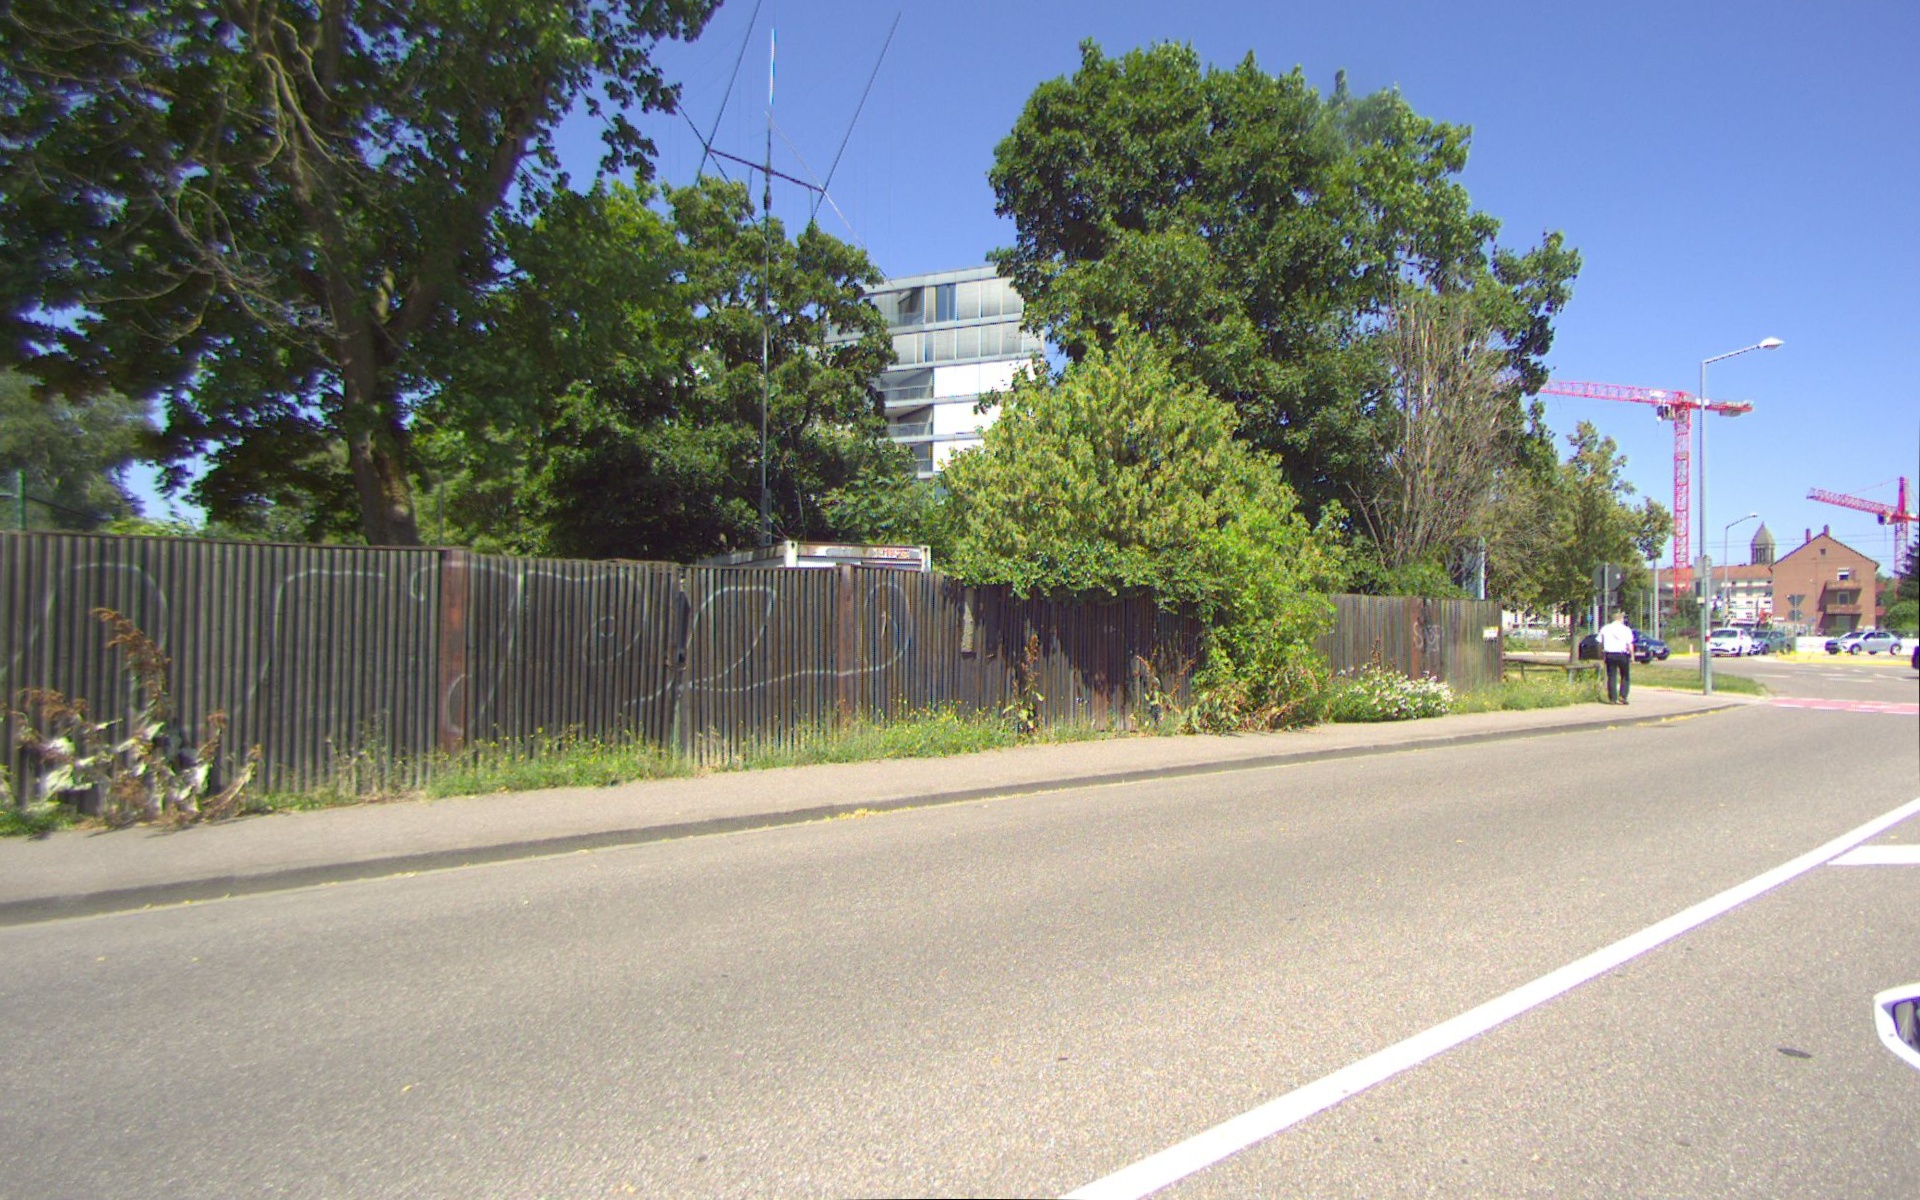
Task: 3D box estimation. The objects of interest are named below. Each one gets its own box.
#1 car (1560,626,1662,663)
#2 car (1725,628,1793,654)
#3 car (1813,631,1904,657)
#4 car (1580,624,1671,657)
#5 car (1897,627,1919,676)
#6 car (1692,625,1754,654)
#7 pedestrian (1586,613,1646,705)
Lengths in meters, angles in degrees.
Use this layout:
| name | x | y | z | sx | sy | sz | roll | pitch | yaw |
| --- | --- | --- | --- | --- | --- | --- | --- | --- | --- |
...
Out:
| name | x | y | z | sx | sy | sz | roll | pitch | yaw |
| --- | --- | --- | --- | --- | --- | --- | --- | --- | --- |
| car | 31.233 | 2.115 | 48.348 | 1.699 | 1.572 | 3.987 | 2 | 0 | -15 |
| car | 46.861 | 2.414 | 58.920 | 4.282 | 1.390 | 1.737 | 2 | 0 | -31 |
| car | 55.636 | 2.696 | 62.234 | 4.188 | 1.421 | 1.732 | 2 | 0 | -3 |
| car | 35.505 | 2.143 | 53.693 | 1.698 | 1.572 | 3.990 | 2 | 0 | -13 |
| car | 32.005 | 1.623 | 31.000 | 1.697 | 1.572 | 4.334 | 0 | -1 | -11 |
| car | 42.072 | 2.148 | 55.357 | 3.837 | 1.547 | 1.763 | 1 | -2 | -37 |
| pedestrian | 13.269 | 1.177 | 20.328 | 0.958 | 1.810 | 0.632 | 2 | 0 | -32 |
